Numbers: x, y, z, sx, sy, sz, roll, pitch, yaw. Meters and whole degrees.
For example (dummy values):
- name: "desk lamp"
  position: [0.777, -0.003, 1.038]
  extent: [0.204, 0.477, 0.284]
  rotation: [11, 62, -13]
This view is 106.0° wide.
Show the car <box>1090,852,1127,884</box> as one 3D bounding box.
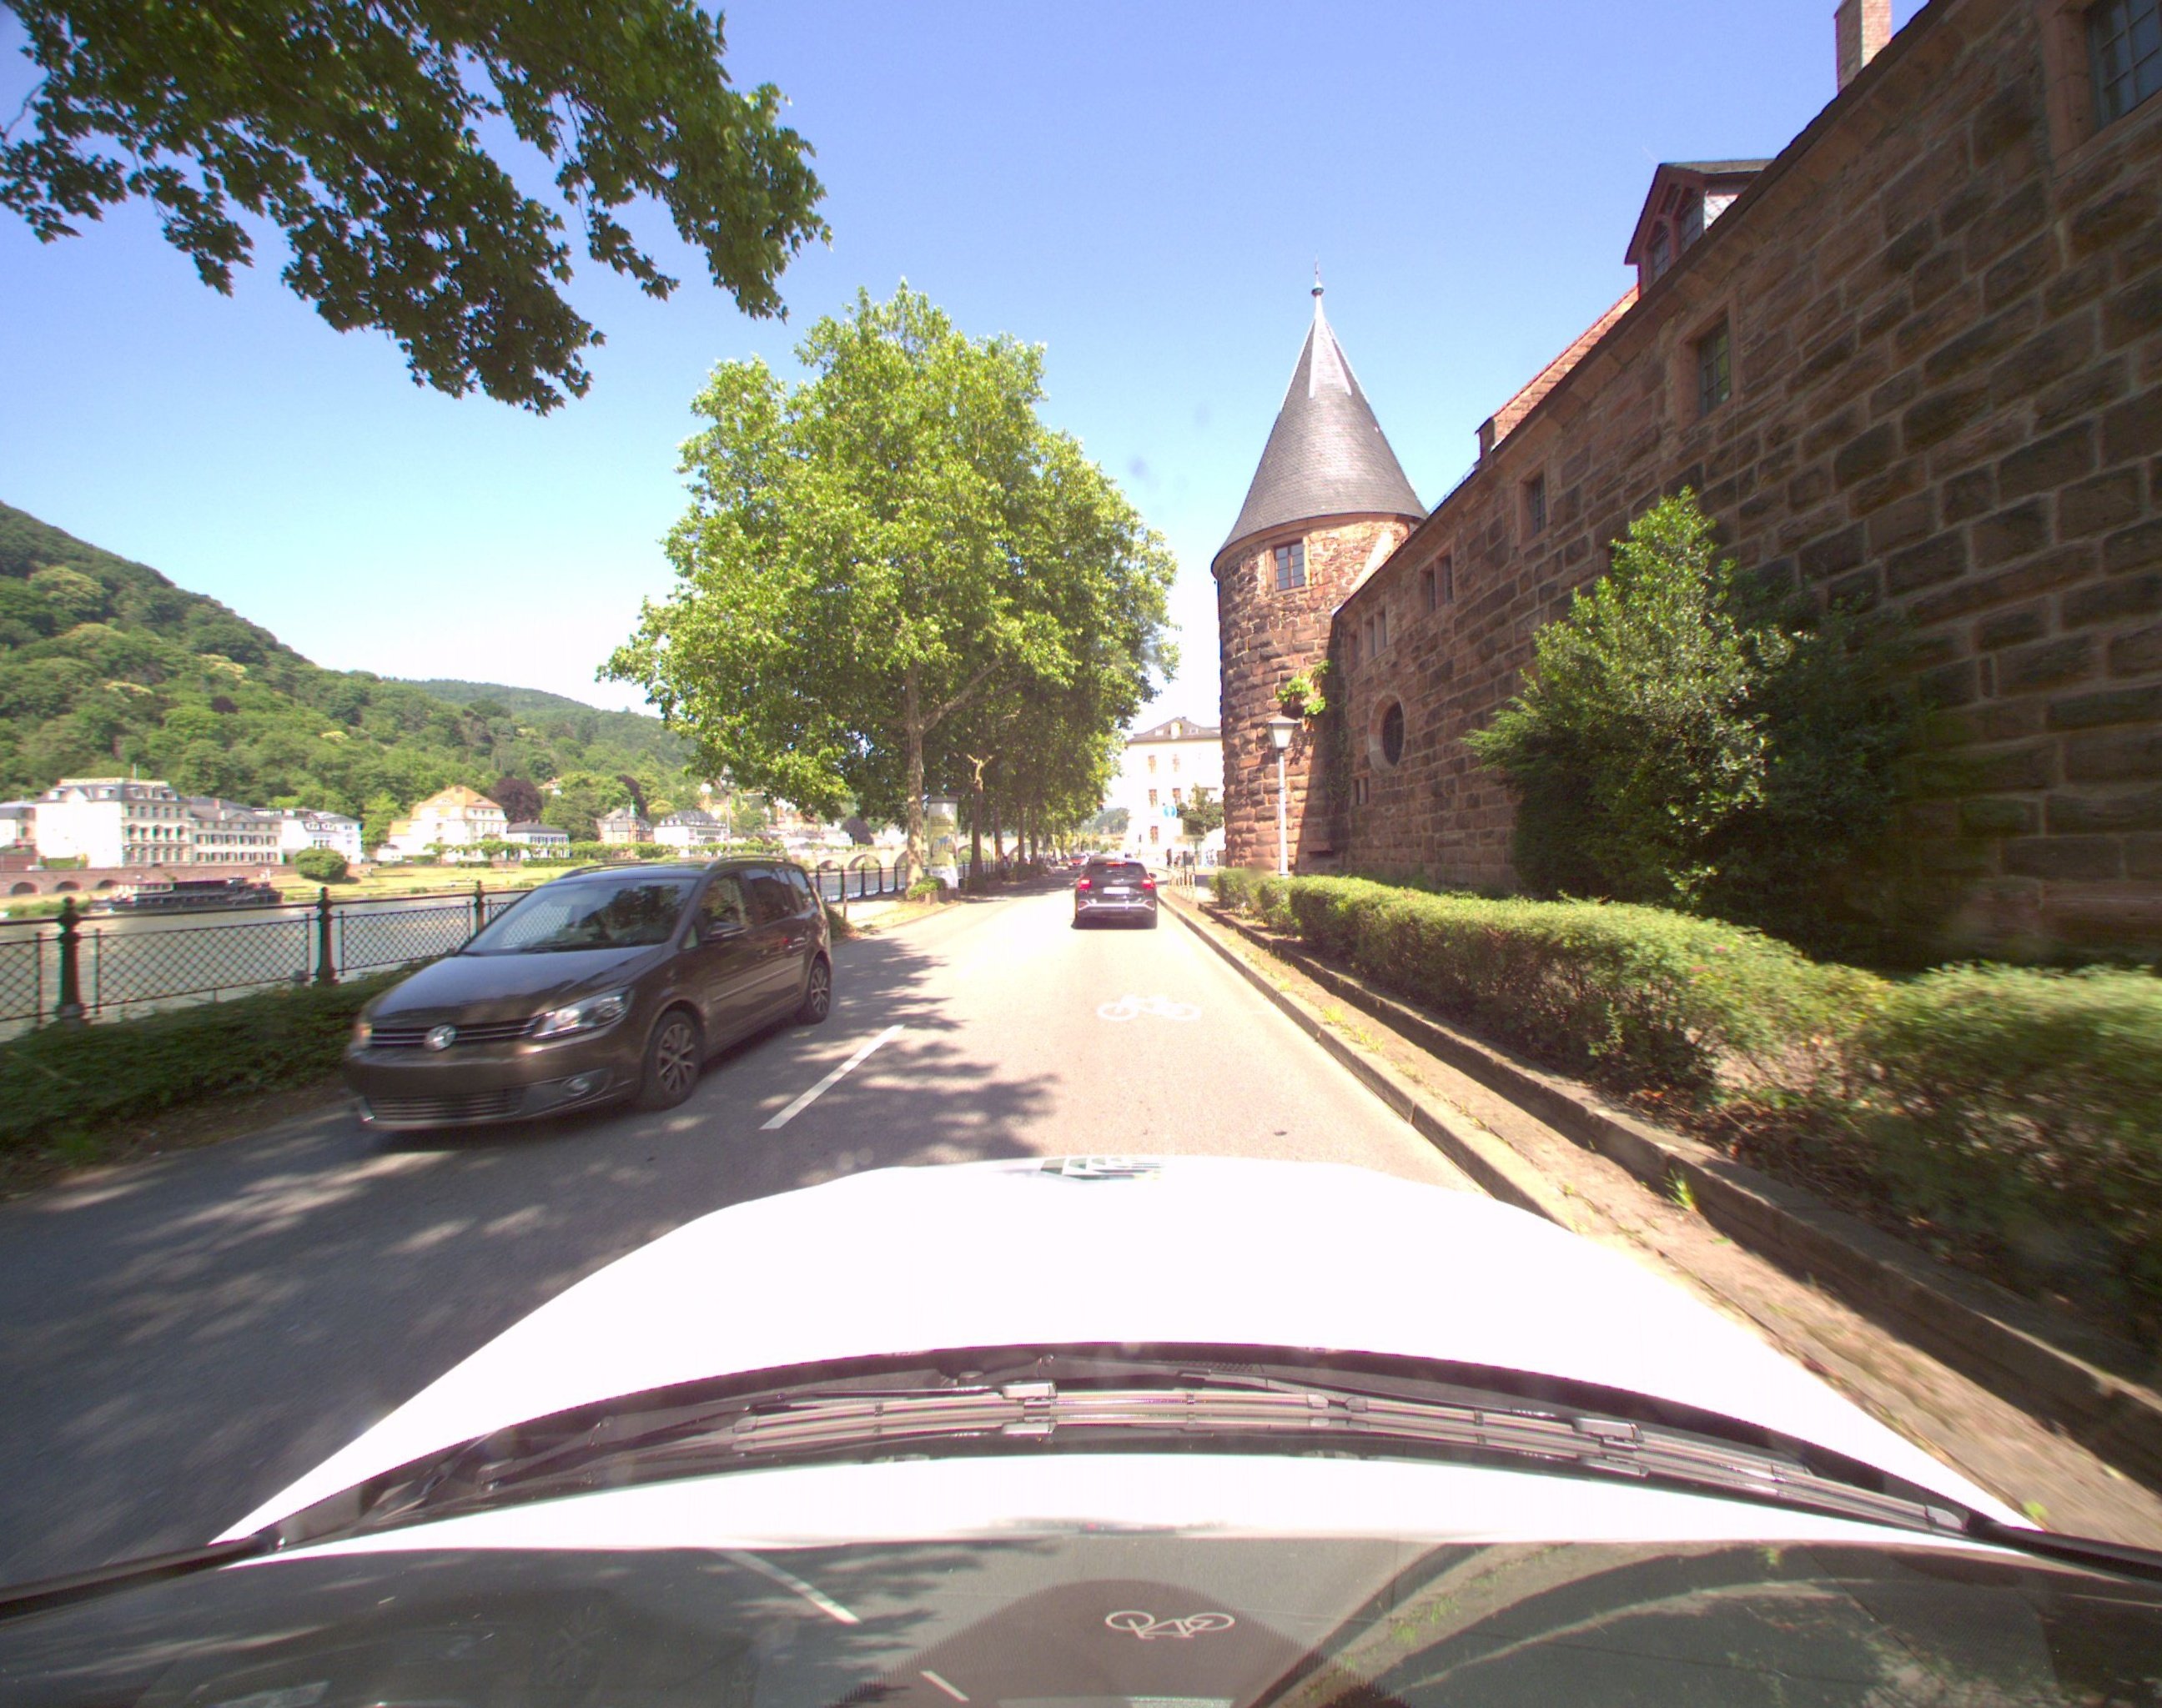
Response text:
- name: "car"
  position: [1.474, 0.698, 42.729]
  extent: [1.794, 1.523, 3.718]
  rotation: [-2, 0, 2]

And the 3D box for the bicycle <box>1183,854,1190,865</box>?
- name: "bicycle"
  position: [9.427, 0.476, 72.868]
  extent: [0.449, 0.975, 1.400]
  rotation: [1, 0, 2]

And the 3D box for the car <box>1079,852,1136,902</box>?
- name: "car"
  position: [0.959, 0.761, 28.634]
  extent: [1.794, 1.562, 3.718]
  rotation: [-3, 0, 2]

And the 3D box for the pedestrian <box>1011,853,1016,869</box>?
- name: "pedestrian"
  position: [-6.900, 0.721, 82.983]
  extent: [0.496, 1.537, 0.678]
  rotation: [-2, 0, -5]

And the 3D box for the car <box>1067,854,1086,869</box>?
- name: "car"
  position: [-0.468, 0.775, 85.364]
  extent: [1.607, 1.523, 3.480]
  rotation: [-3, 0, 4]

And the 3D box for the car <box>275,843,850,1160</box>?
- name: "car"
  position: [-3.392, 0.800, 6.452]
  extent: [1.756, 1.647, 4.092]
  rotation: [-3, 0, 2]

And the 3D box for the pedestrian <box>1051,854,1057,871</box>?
- name: "pedestrian"
  position: [-2.641, 0.799, 79.066]
  extent: [0.516, 1.638, 0.438]
  rotation: [-2, 0, -5]

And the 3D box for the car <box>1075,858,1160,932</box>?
- name: "car"
  position: [0.782, 0.844, 18.565]
  extent: [1.742, 1.494, 3.629]
  rotation: [0, 0, 1]

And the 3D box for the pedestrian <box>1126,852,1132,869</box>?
- name: "pedestrian"
  position: [4.544, 0.604, 76.409]
  extent: [0.555, 1.557, 0.660]
  rotation: [0, -1, 3]

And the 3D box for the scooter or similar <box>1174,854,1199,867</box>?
- name: "scooter or similar"
  position: [8.075, 0.528, 62.281]
  extent: [1.838, 0.963, 0.429]
  rotation: [1, -1, 1]

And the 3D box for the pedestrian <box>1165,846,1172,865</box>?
- name: "pedestrian"
  position: [7.483, 0.162, 69.759]
  extent: [0.555, 1.633, 0.660]
  rotation: [0, -1, 3]

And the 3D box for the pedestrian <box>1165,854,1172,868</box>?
- name: "pedestrian"
  position: [7.628, 0.637, 70.997]
  extent: [0.544, 1.201, 0.523]
  rotation: [1, -1, 3]

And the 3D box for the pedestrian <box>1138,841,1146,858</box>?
- name: "pedestrian"
  position: [5.858, -0.445, 77.692]
  extent: [0.744, 1.557, 0.589]
  rotation: [0, -1, 3]
